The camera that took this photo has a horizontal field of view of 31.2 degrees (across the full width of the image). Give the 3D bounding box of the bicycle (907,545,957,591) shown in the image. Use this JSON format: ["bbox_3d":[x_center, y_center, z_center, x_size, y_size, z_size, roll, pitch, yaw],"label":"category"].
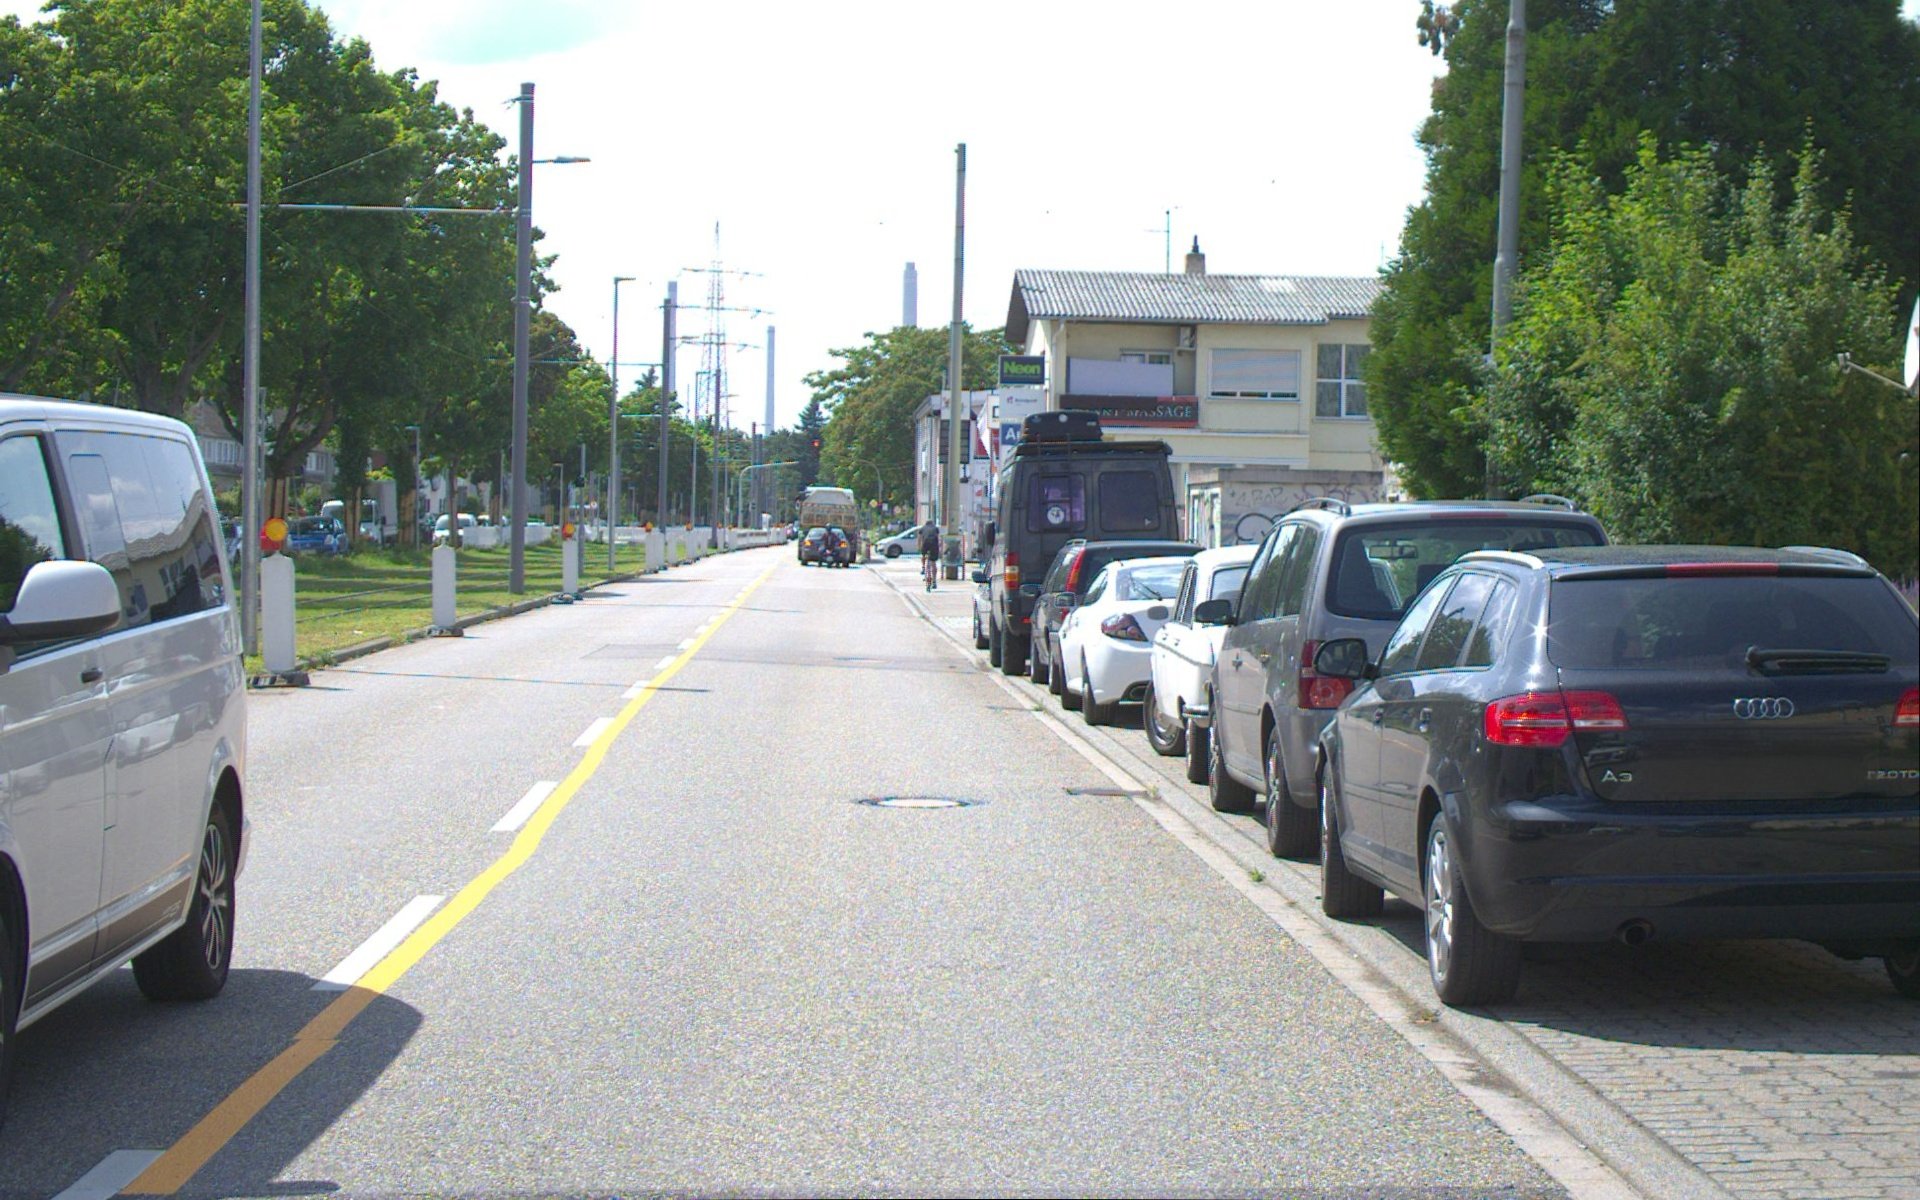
[{"bbox_3d":[-0.682,-0.771,82.991,0.994,1.045,2.813,1,1,-5],"label":"bicycle"}]

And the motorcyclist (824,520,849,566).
[{"bbox_3d":[-4.586,-2.107,127.326,0.883,1.661,1.109,1,1,-3],"label":"motorcyclist"}]

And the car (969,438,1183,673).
[{"bbox_3d":[1.235,-0.538,39.451,1.959,2.470,6.061,-1,1,-3],"label":"car"}]

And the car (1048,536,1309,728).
[{"bbox_3d":[1.716,0.207,28.190,1.764,1.435,4.001,-1,1,-2],"label":"car"}]

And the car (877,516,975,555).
[{"bbox_3d":[-1.681,-3.174,170.062,4.641,1.816,1.836,1,1,-7],"label":"car"}]

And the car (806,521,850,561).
[{"bbox_3d":[-5.095,-2.298,132.657,1.568,1.493,4.149,1,1,-4],"label":"car"}]

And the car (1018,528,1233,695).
[{"bbox_3d":[1.545,0.064,33.367,1.764,1.497,4.001,-1,1,-2],"label":"car"}]

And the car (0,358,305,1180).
[{"bbox_3d":[-3.298,0.369,9.881,1.928,1.952,5.377,-1,1,-2],"label":"car"}]

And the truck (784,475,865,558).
[{"bbox_3d":[-5.963,-3.582,149.593,3.220,3.390,11.356,1,1,-4],"label":"truck"}]

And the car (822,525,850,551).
[{"bbox_3d":[-7.408,-3.709,205.228,1.568,1.493,4.149,1,1,-4],"label":"car"}]

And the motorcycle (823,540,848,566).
[{"bbox_3d":[-4.611,-1.734,127.597,0.883,0.921,2.616,1,1,-3],"label":"motorcycle"}]

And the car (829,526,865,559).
[{"bbox_3d":[-5.331,-2.715,161.994,1.568,1.493,4.149,1,1,-4],"label":"car"}]

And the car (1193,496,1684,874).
[{"bbox_3d":[2.233,0.328,17.052,1.764,1.637,4.001,-1,1,-2],"label":"car"}]

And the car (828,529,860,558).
[{"bbox_3d":[-6.287,-3.089,186.376,1.568,1.493,4.149,1,1,-4],"label":"car"}]

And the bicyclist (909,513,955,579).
[{"bbox_3d":[-0.672,-1.316,83.005,0.994,1.564,1.140,1,1,-5],"label":"bicyclist"}]

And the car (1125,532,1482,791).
[{"bbox_3d":[2.093,0.318,21.966,1.764,1.471,4.001,-1,1,-2],"label":"car"}]

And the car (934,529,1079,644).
[{"bbox_3d":[0.609,-0.222,47.796,1.763,1.497,4.001,-1,1,-3],"label":"car"}]

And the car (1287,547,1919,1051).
[{"bbox_3d":[2.270,0.545,11.953,1.764,1.412,4.001,-1,1,-2],"label":"car"}]
